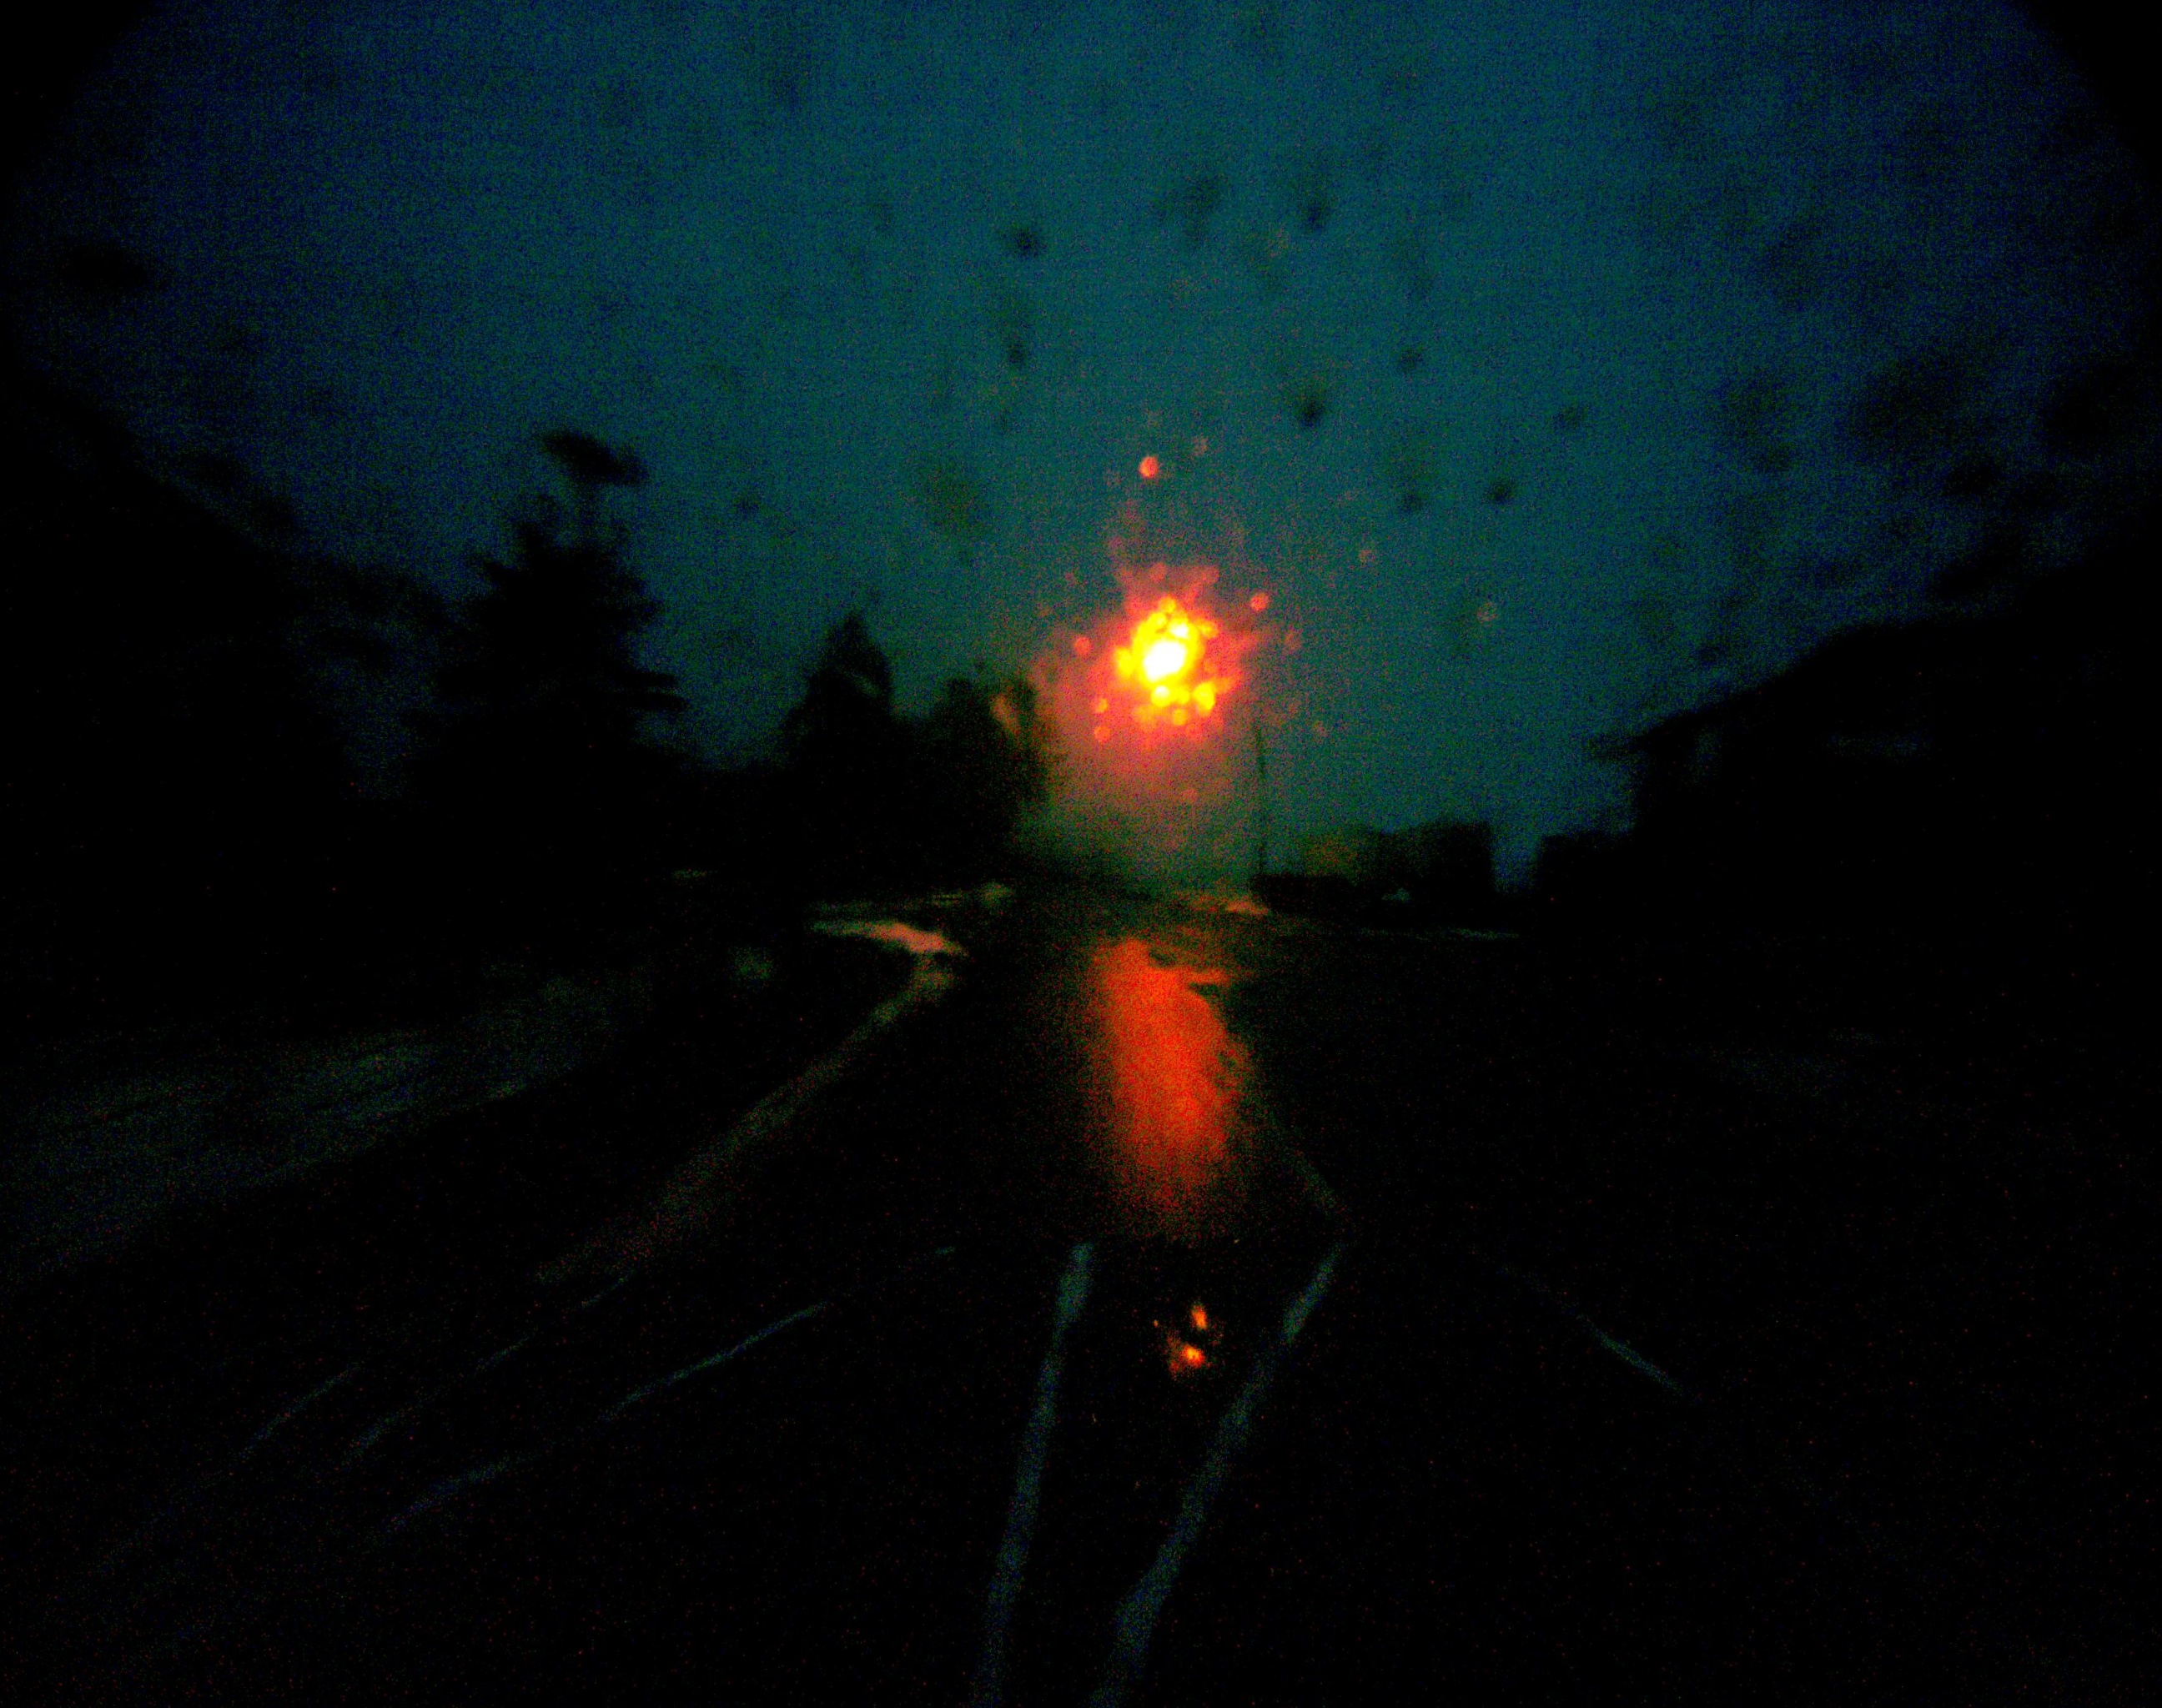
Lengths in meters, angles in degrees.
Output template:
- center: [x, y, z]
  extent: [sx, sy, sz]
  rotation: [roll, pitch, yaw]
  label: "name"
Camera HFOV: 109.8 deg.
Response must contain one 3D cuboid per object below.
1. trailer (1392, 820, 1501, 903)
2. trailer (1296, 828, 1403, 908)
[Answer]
- center: [12.069, 0.278, 25.397]
  extent: [1.997, 2.474, 4.013]
  rotation: [2, -1, 7]
  label: "trailer"
- center: [9.457, 0.499, 27.052]
  extent: [1.697, 2.589, 3.439]
  rotation: [3, -1, -21]
  label: "trailer"
